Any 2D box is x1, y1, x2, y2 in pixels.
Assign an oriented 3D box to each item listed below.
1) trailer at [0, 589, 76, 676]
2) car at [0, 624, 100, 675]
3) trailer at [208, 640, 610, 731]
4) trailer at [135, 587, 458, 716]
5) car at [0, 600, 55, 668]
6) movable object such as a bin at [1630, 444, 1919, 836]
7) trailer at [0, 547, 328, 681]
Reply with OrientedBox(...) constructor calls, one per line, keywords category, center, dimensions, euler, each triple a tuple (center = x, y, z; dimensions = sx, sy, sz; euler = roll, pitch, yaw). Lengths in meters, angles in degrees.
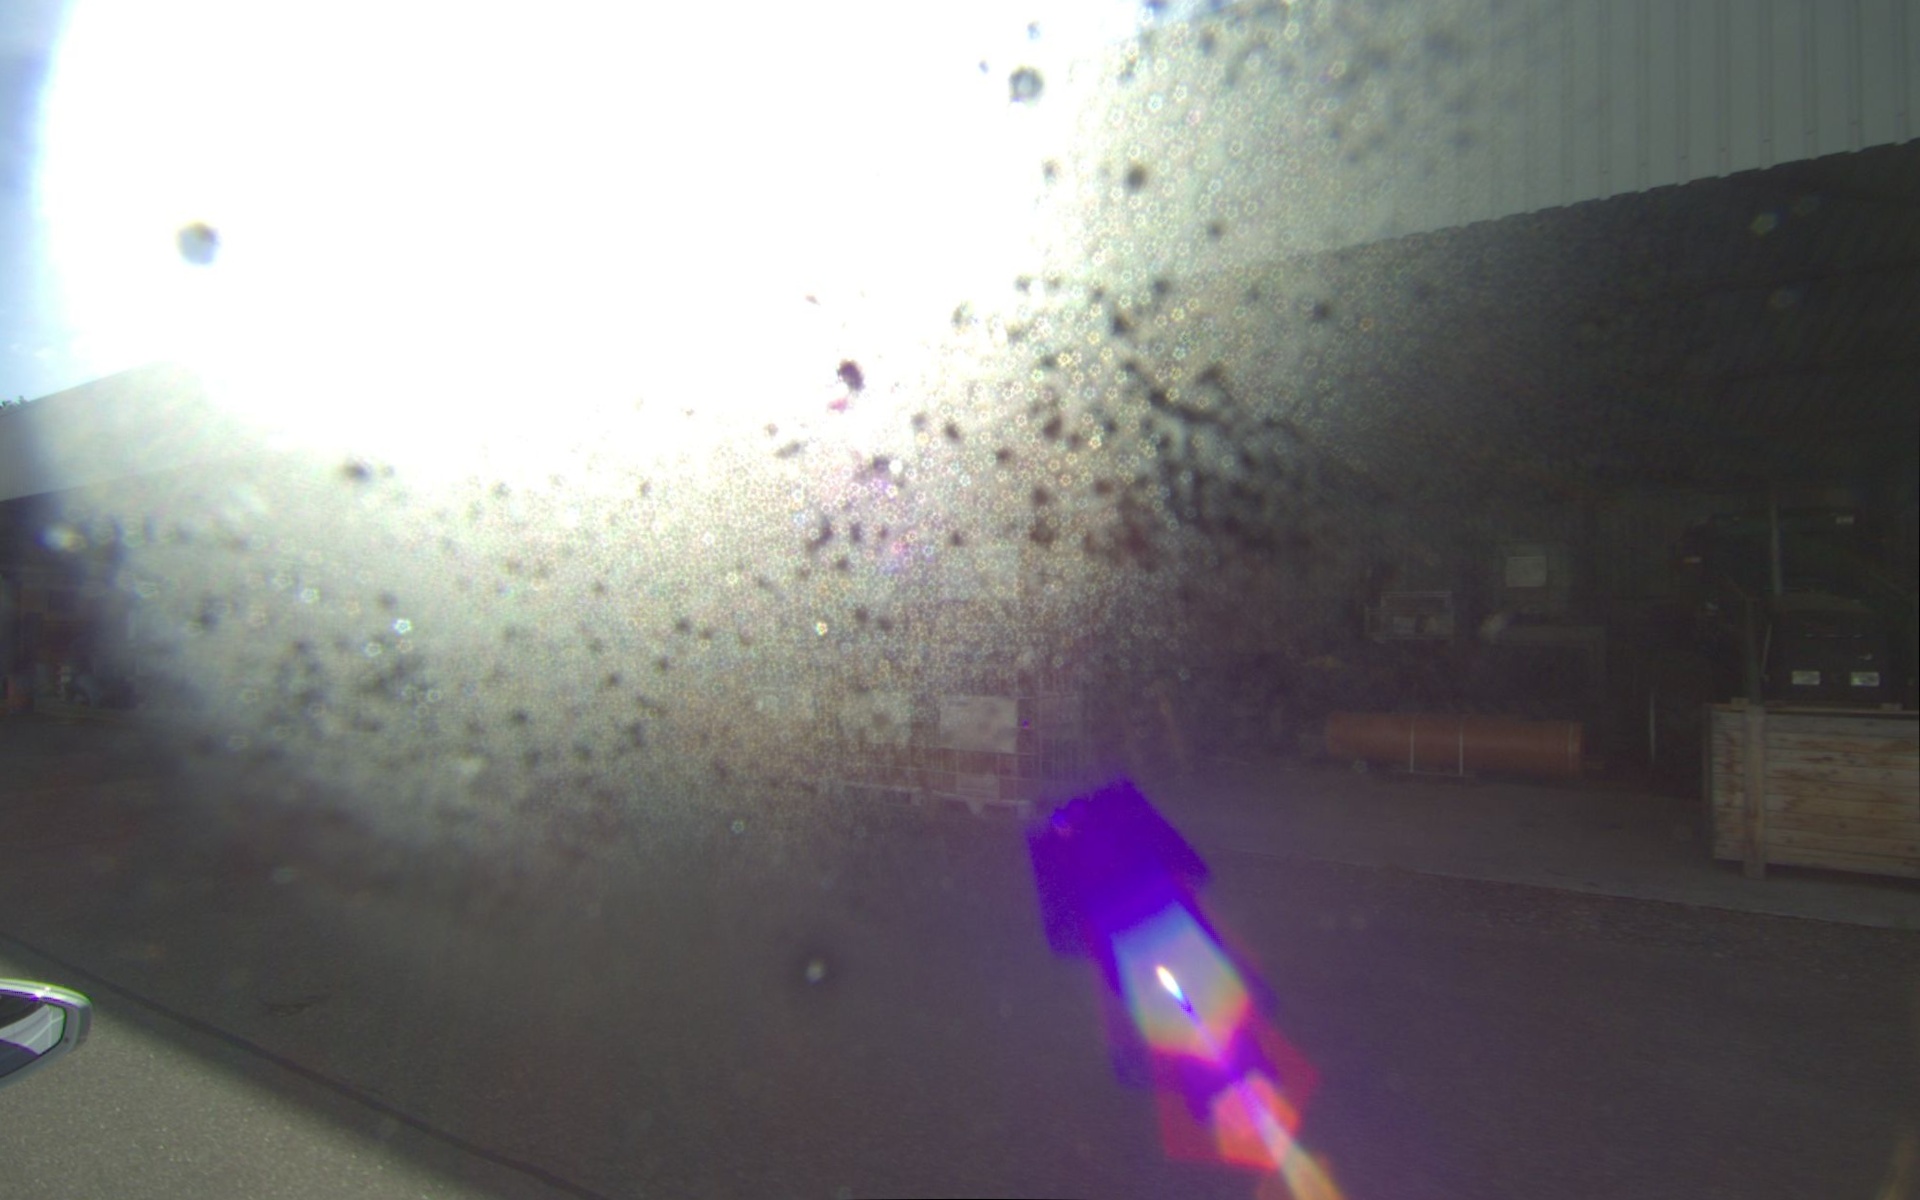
OrientedBox(category="trailer", center=(-27.380, 0.898, 27.324), dimensions=(2.018, 2.372, 4.508), euler=(-1, -2, 32))
OrientedBox(category="car", center=(-28.754, 1.448, 29.910), dimensions=(1.841, 1.490, 4.247), euler=(0, -2, 28))
OrientedBox(category="trailer", center=(-8.819, 1.293, 16.748), dimensions=(1.945, 1.200, 5.722), euler=(-1, -2, 30))
OrientedBox(category="trailer", center=(-11.819, 0.890, 18.149), dimensions=(2.133, 2.015, 4.414), euler=(-1, -2, 33))
OrientedBox(category="car", center=(-33.918, 1.112, 33.251), dimensions=(2.121, 2.309, 5.327), euler=(-1, -3, 31))
OrientedBox(category="movable object such as a bin", center=(7.907, 0.383, 9.455), dimensions=(2.461, 2.866, 4.520), euler=(0, -2, 32))
OrientedBox(category="trailer", center=(-23.952, 0.440, 28.221), dimensions=(2.761, 3.386, 10.252), euler=(0, -2, 32))
